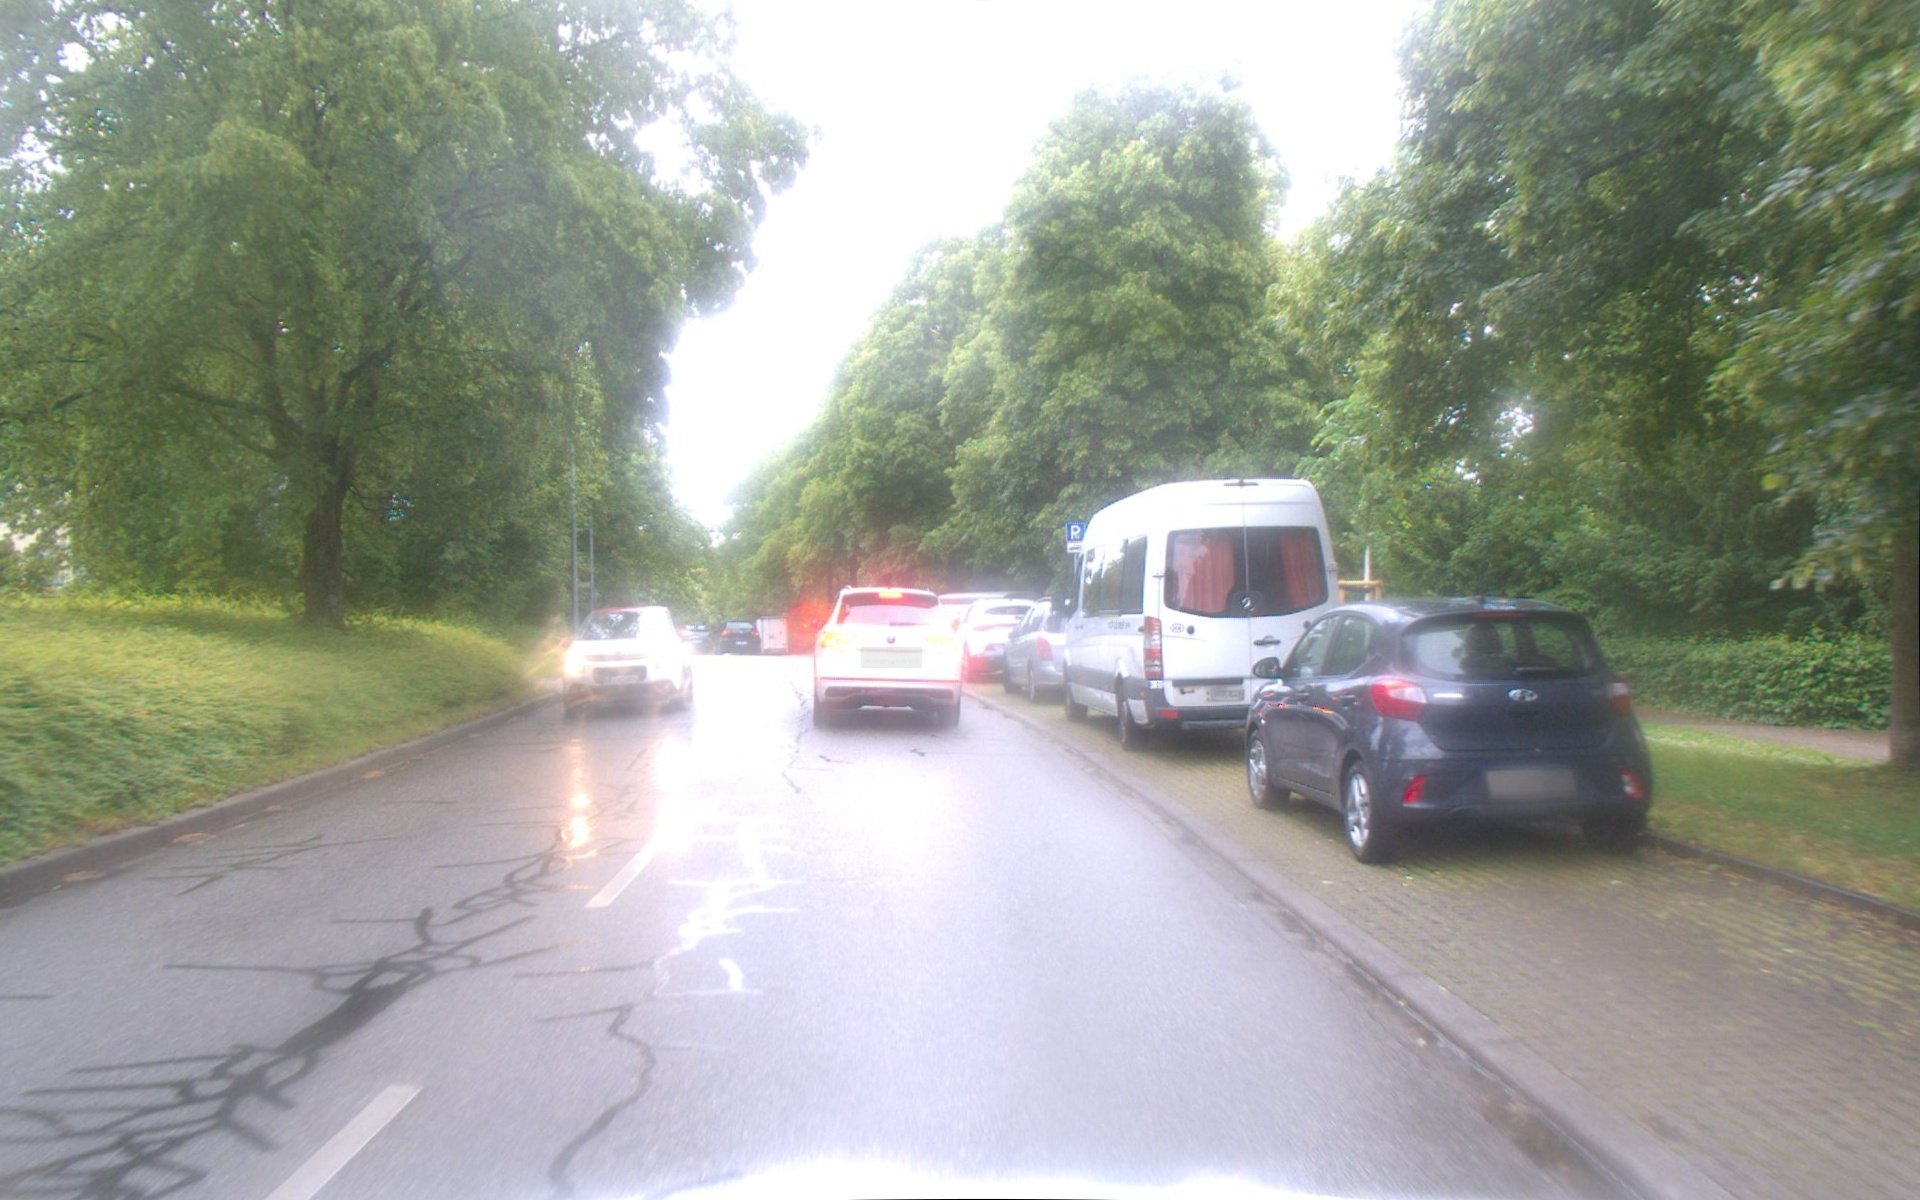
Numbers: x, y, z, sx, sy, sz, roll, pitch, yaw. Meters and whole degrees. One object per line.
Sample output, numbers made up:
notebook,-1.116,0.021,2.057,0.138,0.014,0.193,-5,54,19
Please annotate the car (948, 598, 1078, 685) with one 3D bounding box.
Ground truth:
car,0.951,0.747,32.364,1.955,1.523,4.561,-1,0,-6

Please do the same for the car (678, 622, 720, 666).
car,-13.555,2.249,85.850,1.959,2.048,3.988,0,2,-12

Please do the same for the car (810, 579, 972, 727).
car,-0.877,0.641,21.231,1.867,1.715,4.198,0,-1,-2

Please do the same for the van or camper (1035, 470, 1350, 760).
van or camper,2.333,0.084,19.398,1.976,2.628,8.430,1,1,-3

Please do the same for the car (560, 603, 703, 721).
car,-4.770,0.850,24.438,1.634,1.503,3.727,-3,0,-6

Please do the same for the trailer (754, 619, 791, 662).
trailer,-9.739,2.121,85.687,1.503,2.112,3.986,-2,-3,-12

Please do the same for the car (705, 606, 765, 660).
car,-9.386,1.347,68.869,1.961,2.048,3.984,0,2,-15

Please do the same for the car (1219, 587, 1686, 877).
car,2.981,0.700,10.871,1.828,1.537,3.723,-1,1,-2

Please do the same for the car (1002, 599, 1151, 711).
car,1.742,0.790,26.083,1.769,1.566,4.264,-2,0,-3

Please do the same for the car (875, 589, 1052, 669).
car,0.043,0.636,37.484,3.934,1.710,1.602,-1,0,41
